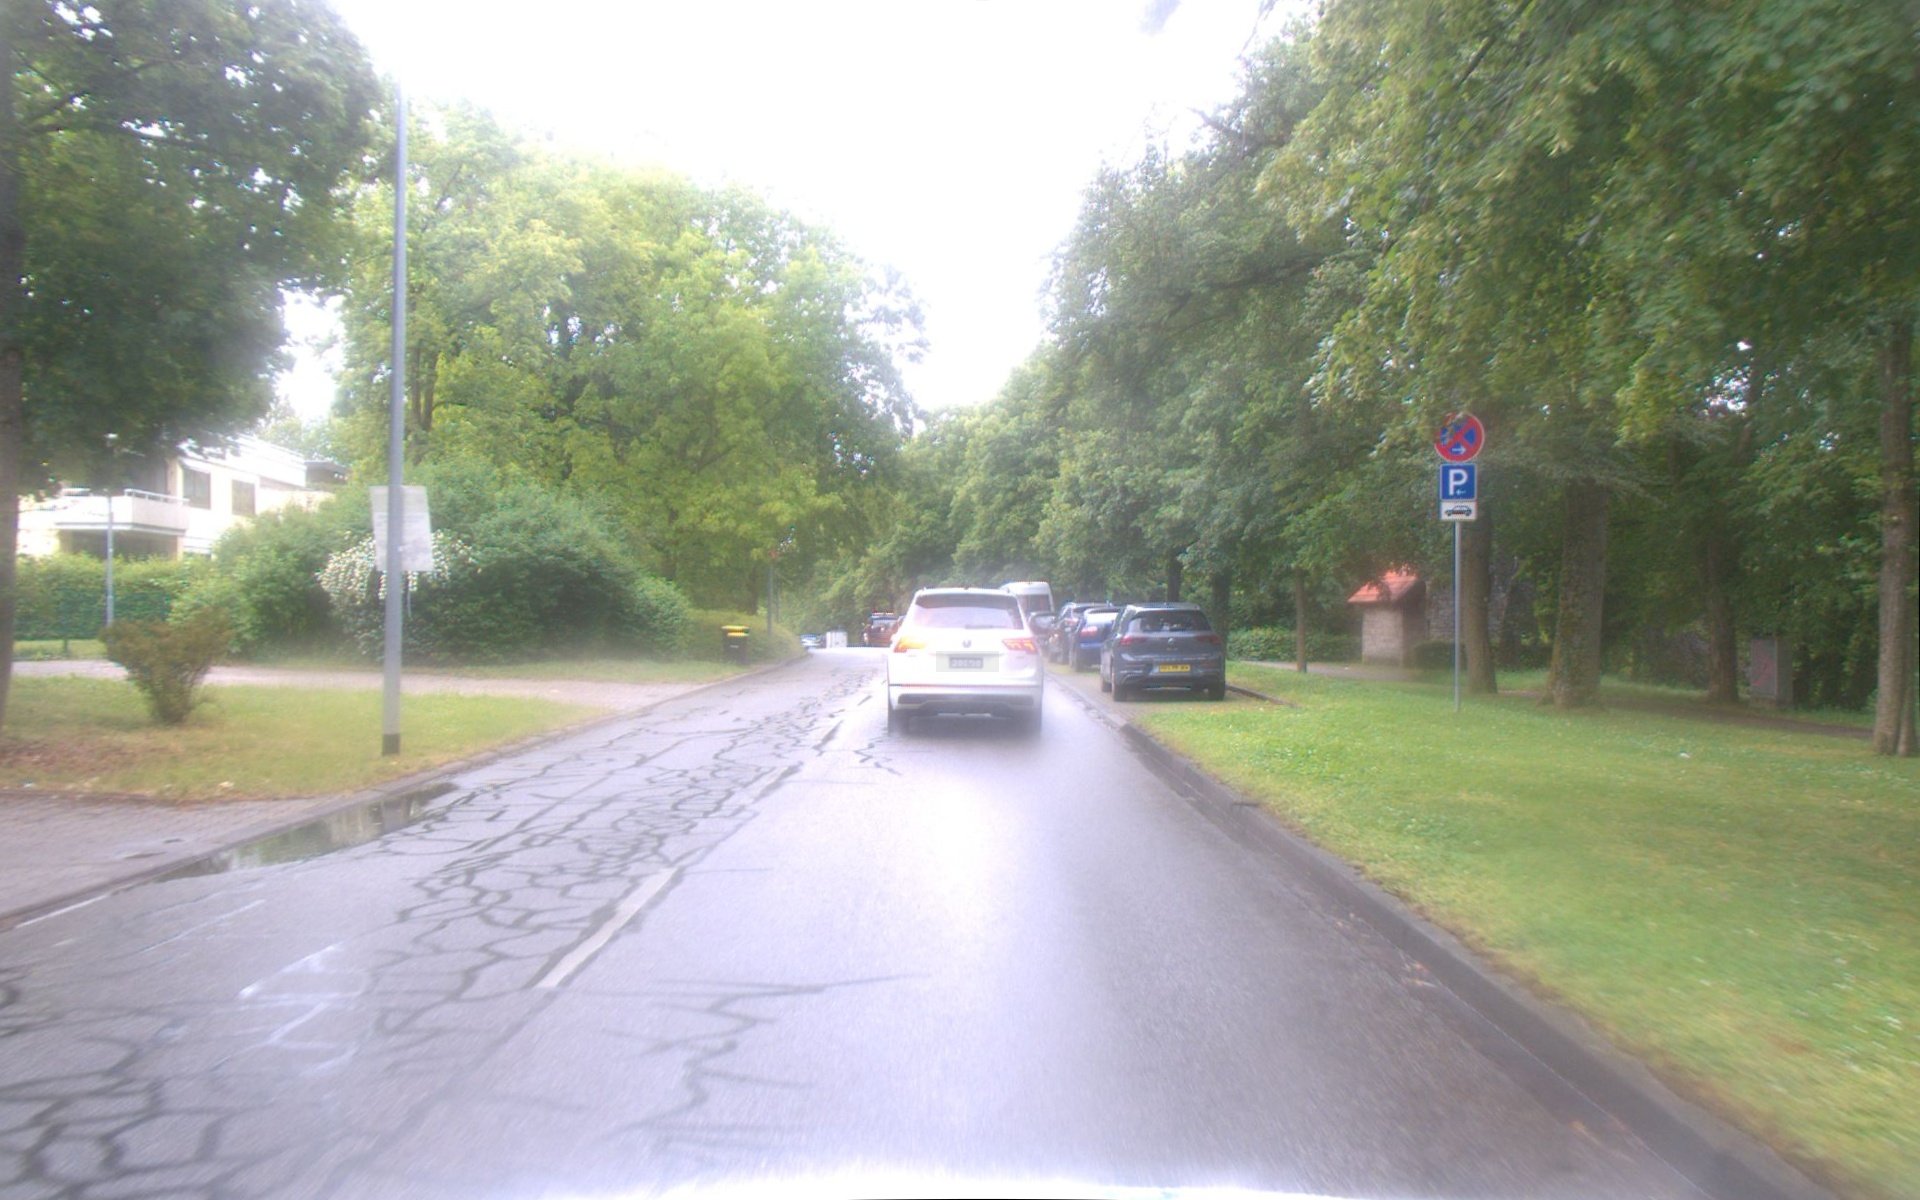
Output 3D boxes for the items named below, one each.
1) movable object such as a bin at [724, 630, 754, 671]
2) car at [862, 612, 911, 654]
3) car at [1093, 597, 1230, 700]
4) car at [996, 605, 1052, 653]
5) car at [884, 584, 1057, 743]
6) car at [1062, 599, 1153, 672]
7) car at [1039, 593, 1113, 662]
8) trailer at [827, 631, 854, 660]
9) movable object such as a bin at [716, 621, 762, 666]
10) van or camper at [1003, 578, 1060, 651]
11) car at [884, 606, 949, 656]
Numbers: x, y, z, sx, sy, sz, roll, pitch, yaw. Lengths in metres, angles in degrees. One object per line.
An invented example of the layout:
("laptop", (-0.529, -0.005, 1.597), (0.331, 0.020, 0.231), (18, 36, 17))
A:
("movable object such as a bin", (-5.632, 1.281, 42.190), (0.634, 0.996, 0.578), (2, -1, 1))
("car", (-3.892, 1.709, 86.844), (1.959, 2.049, 3.988), (0, 1, -12))
("car", (3.142, 0.729, 26.489), (1.666, 1.487, 4.217), (-1, 0, 0))
("car", (2.166, 0.964, 56.582), (1.826, 1.538, 3.725), (-1, 0, 1))
("car", (0.041, 0.702, 20.202), (1.867, 1.715, 4.198), (1, 0, -2))
("car", (3.334, 0.789, 38.041), (1.707, 1.477, 4.000), (-4, 0, 1))
("car", (3.092, 0.727, 44.870), (1.744, 1.749, 4.262), (-1, 0, 1))
("trailer", (-9.537, 3.618, 131.826), (1.503, 2.112, 3.986), (-1, -4, -12))
("movable object such as a bin", (-5.681, 1.108, 42.585), (1.016, 1.124, 0.966), (-1, -1, 1))
("van or camper", (2.748, 0.532, 64.937), (1.974, 2.628, 8.436), (1, 0, 1))
("car", (-1.935, 1.328, 72.453), (1.961, 2.049, 3.984), (0, 1, -15))
